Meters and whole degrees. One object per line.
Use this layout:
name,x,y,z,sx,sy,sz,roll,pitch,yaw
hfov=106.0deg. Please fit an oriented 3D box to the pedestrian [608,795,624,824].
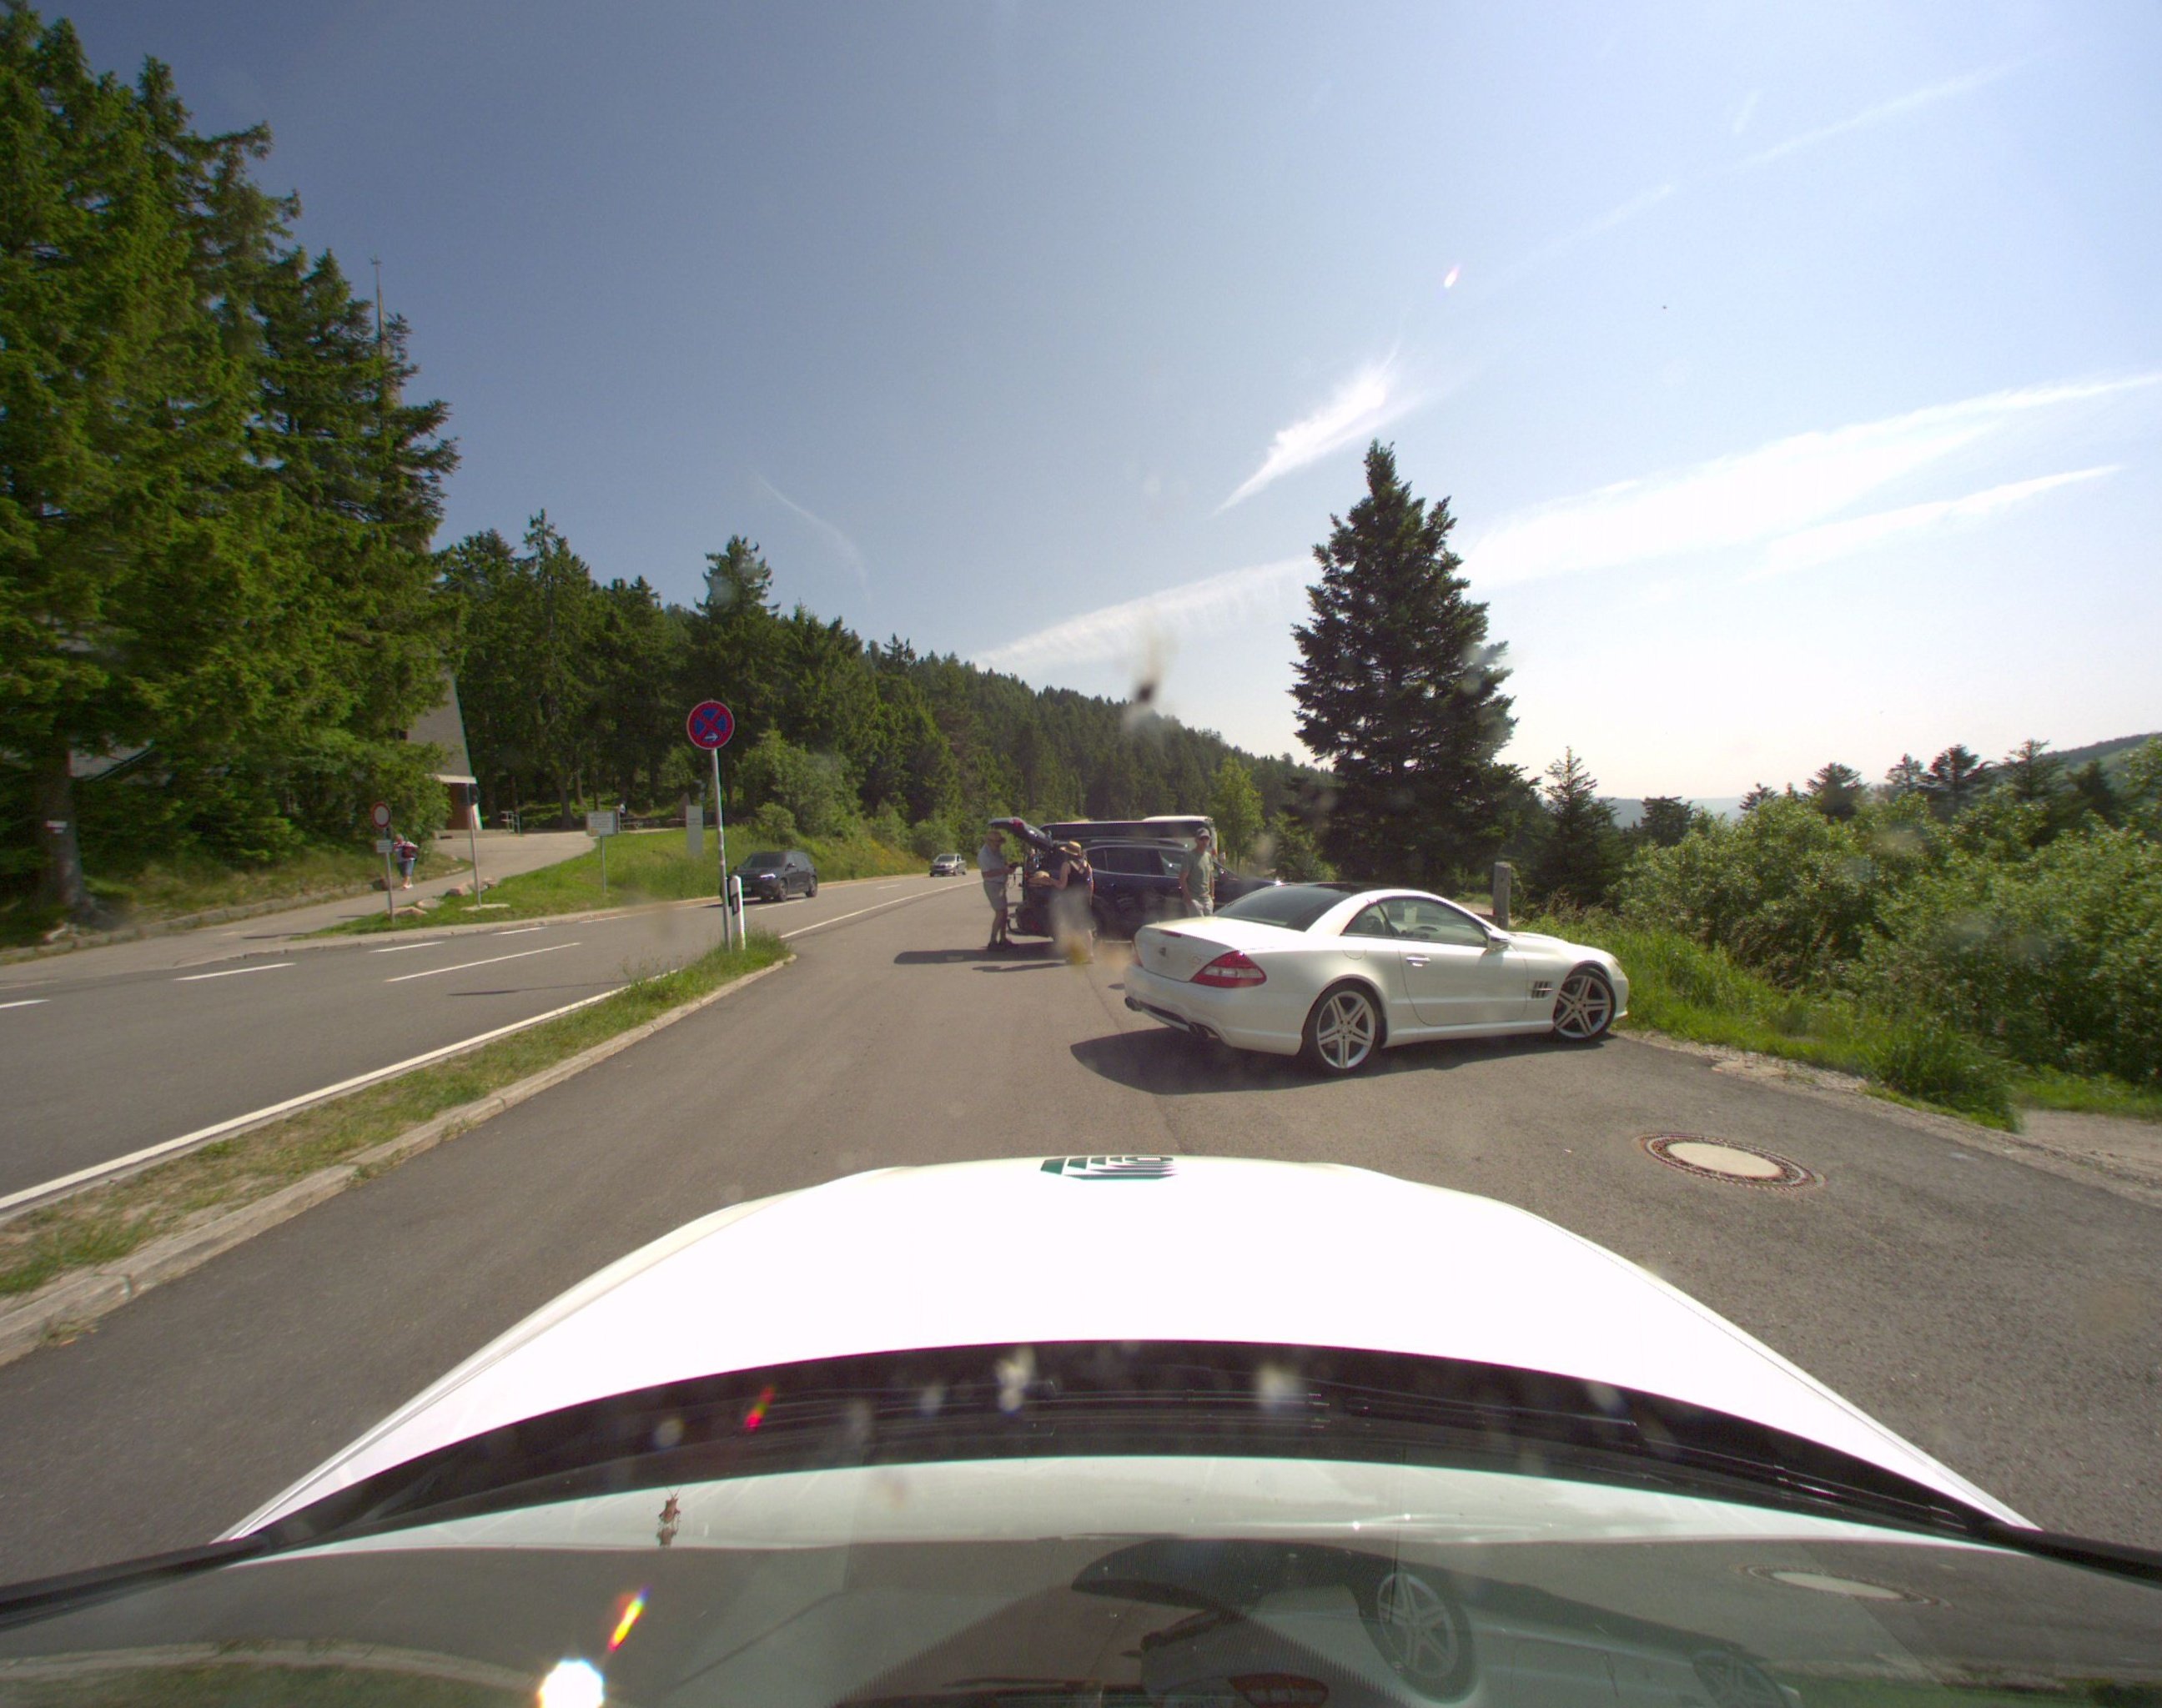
pedestrian,-31.125,-2.959,54.511,0.674,1.877,0.545,-3,0,32

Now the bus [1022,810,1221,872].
bus,2.814,-0.815,54.985,13.015,3.532,3.052,-2,0,9

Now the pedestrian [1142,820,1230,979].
pedestrian,1.257,0.519,9.759,0.751,1.800,0.728,0,-1,-33

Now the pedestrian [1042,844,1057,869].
pedestrian,-2.065,0.143,53.305,0.766,1.585,0.774,-2,0,6

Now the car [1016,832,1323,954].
car,1.217,0.568,12.362,4.338,1.626,1.866,1,-1,-6

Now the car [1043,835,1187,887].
car,1.195,0.237,29.739,5.019,1.651,2.047,-2,0,-1

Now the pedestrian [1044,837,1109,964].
pedestrian,-0.060,0.597,10.730,0.716,1.613,0.533,0,-1,-21

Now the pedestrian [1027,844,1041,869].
pedestrian,-3.066,0.161,53.366,0.766,1.585,0.774,-2,0,6

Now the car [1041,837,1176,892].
car,0.867,0.326,26.618,4.231,1.553,1.837,-2,0,-1

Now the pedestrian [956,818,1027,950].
pedestrian,-1.313,0.406,12.065,0.728,1.870,0.763,1,3,29

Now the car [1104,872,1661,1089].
car,2.559,0.842,6.822,4.417,1.296,1.742,1,1,-24

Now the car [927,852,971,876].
car,-8.794,0.656,54.572,1.871,1.474,4.718,-1,0,3

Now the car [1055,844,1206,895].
car,1.398,0.443,23.944,4.231,1.269,1.837,-2,0,-1

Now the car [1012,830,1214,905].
car,0.826,0.327,21.051,4.931,1.695,1.946,-2,0,1

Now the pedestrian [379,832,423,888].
pedestrian,-20.898,0.176,25.035,0.720,1.681,0.680,-3,0,-11

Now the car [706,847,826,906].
car,-10.083,0.637,26.491,1.987,1.647,4.568,-3,1,1
